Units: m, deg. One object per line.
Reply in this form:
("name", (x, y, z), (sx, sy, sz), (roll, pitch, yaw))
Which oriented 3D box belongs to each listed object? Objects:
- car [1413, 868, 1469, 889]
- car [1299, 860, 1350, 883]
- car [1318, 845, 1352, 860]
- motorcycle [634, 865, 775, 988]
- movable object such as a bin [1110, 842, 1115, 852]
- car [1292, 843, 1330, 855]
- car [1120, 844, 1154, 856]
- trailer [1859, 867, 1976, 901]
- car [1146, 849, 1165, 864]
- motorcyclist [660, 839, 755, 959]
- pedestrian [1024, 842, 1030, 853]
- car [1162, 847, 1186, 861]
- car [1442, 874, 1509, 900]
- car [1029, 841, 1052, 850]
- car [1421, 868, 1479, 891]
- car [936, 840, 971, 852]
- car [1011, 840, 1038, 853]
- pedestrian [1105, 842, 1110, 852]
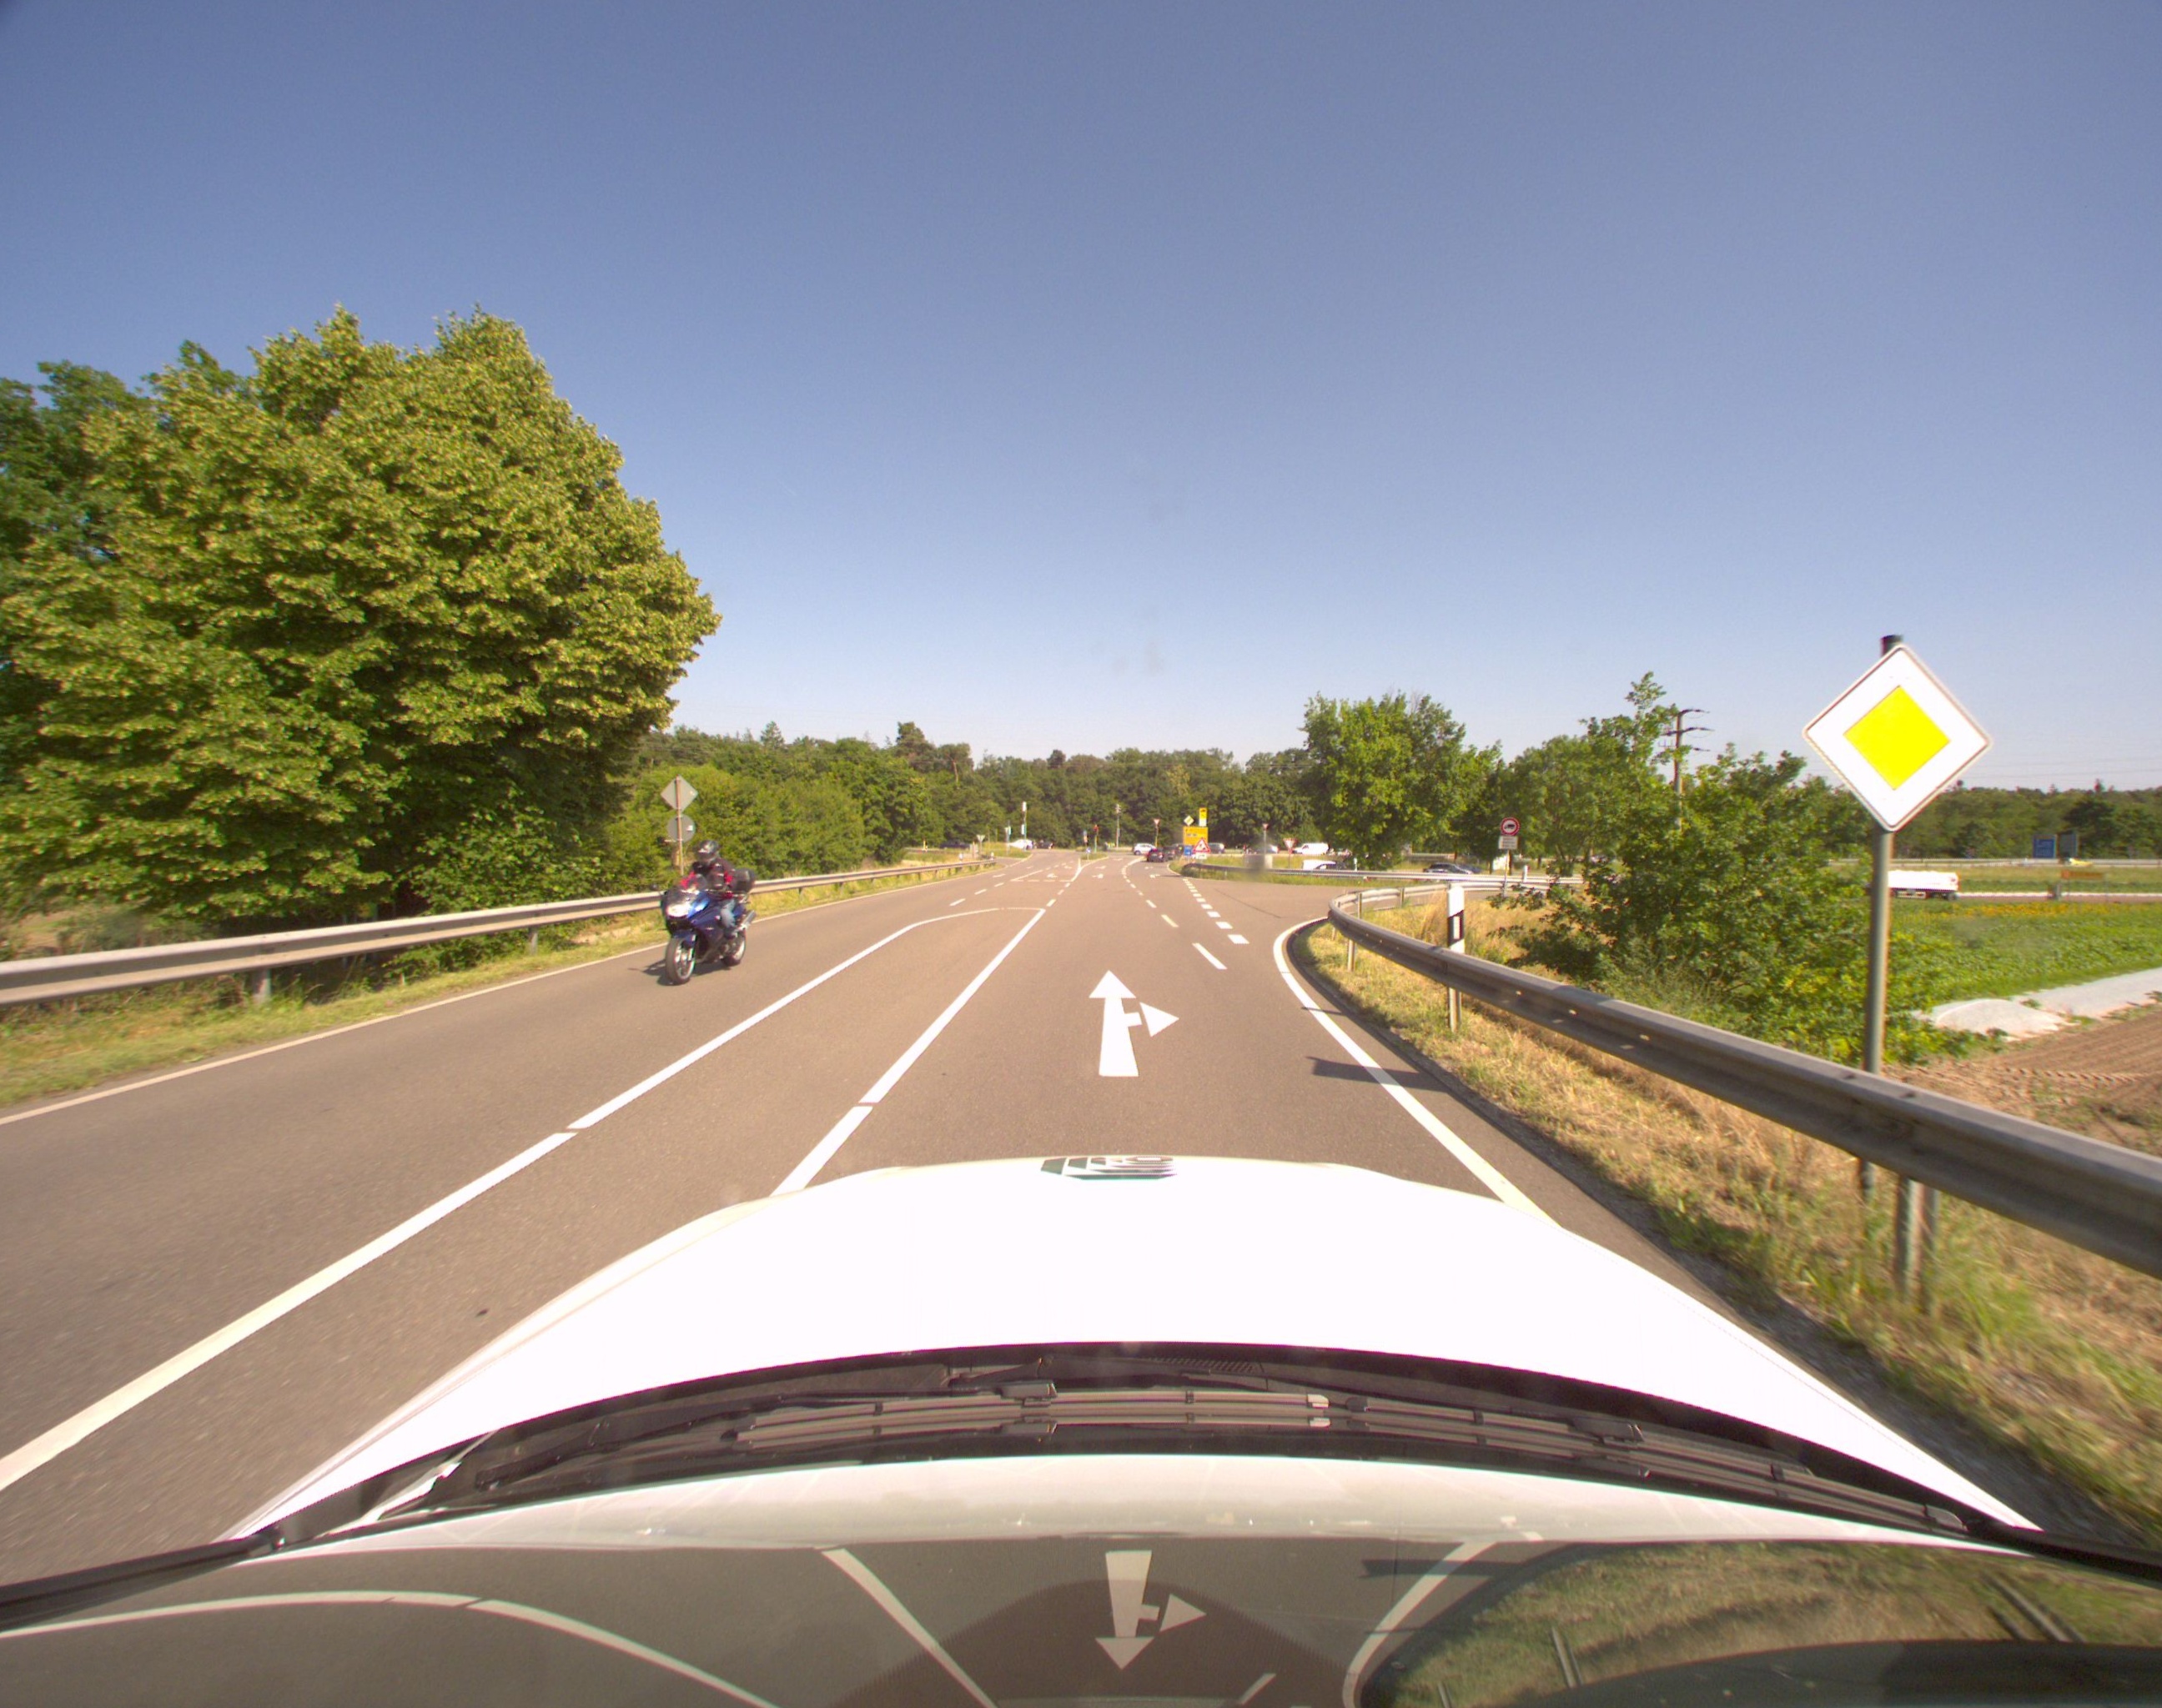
("car", (31.379, 2.117, 71.139), (4.318, 1.447, 2.011), (3, 1, 22))
("car", (22.162, 1.577, 74.199), (4.323, 1.783, 1.909), (2, 1, 14))
("car", (33.999, -0.217, 109.217), (3.977, 2.013, 1.799), (0, 1, -3))
("motorcycle", (-4.599, 0.820, 10.155), (0.715, 1.308, 2.181), (-1, 0, 0))
("movable object such as a bin", (4.733, -1.025, 123.448), (0.598, 1.488, 0.734), (-1, 0, 9))
("car", (32.777, -0.733, 116.281), (4.873, 1.552, 1.997), (-1, 0, -5))
("car", (7.319, -0.566, 106.241), (4.221, 1.459, 1.997), (-1, 0, -5))
("trailer", (75.505, 2.672, 73.682), (6.731, 2.670, 2.907), (2, 1, 17))
("car", (7.767, 0.226, 84.695), (1.789, 1.398, 4.009), (-2, 0, 8))
("motorcyclist", (-4.611, 0.528, 10.122), (0.696, 1.408, 0.979), (-1, 0, 0))
("pedestrian", (-8.632, -0.973, 129.518), (0.670, 1.721, 0.764), (0, 1, 41))
("car", (10.532, -0.021, 92.087), (1.785, 1.501, 4.019), (1, 1, 19))
("car", (28.458, 2.365, 58.831), (3.963, 1.580, 1.897), (3, 1, 10))
("car", (-6.851, -1.391, 137.544), (3.980, 1.422, 1.793), (-1, 0, -5))
("car", (31.061, 2.161, 68.744), (4.318, 1.589, 2.011), (3, 1, 22))
("car", (-16.357, -1.056, 104.657), (4.357, 1.459, 1.997), (-1, 0, -5))
("car", (-9.132, -1.220, 130.760), (4.000, 2.013, 1.784), (-1, 0, -20))
("pedestrian", (3.940, -1.069, 122.947), (0.518, 1.390, 0.517), (-1, 0, 32))
